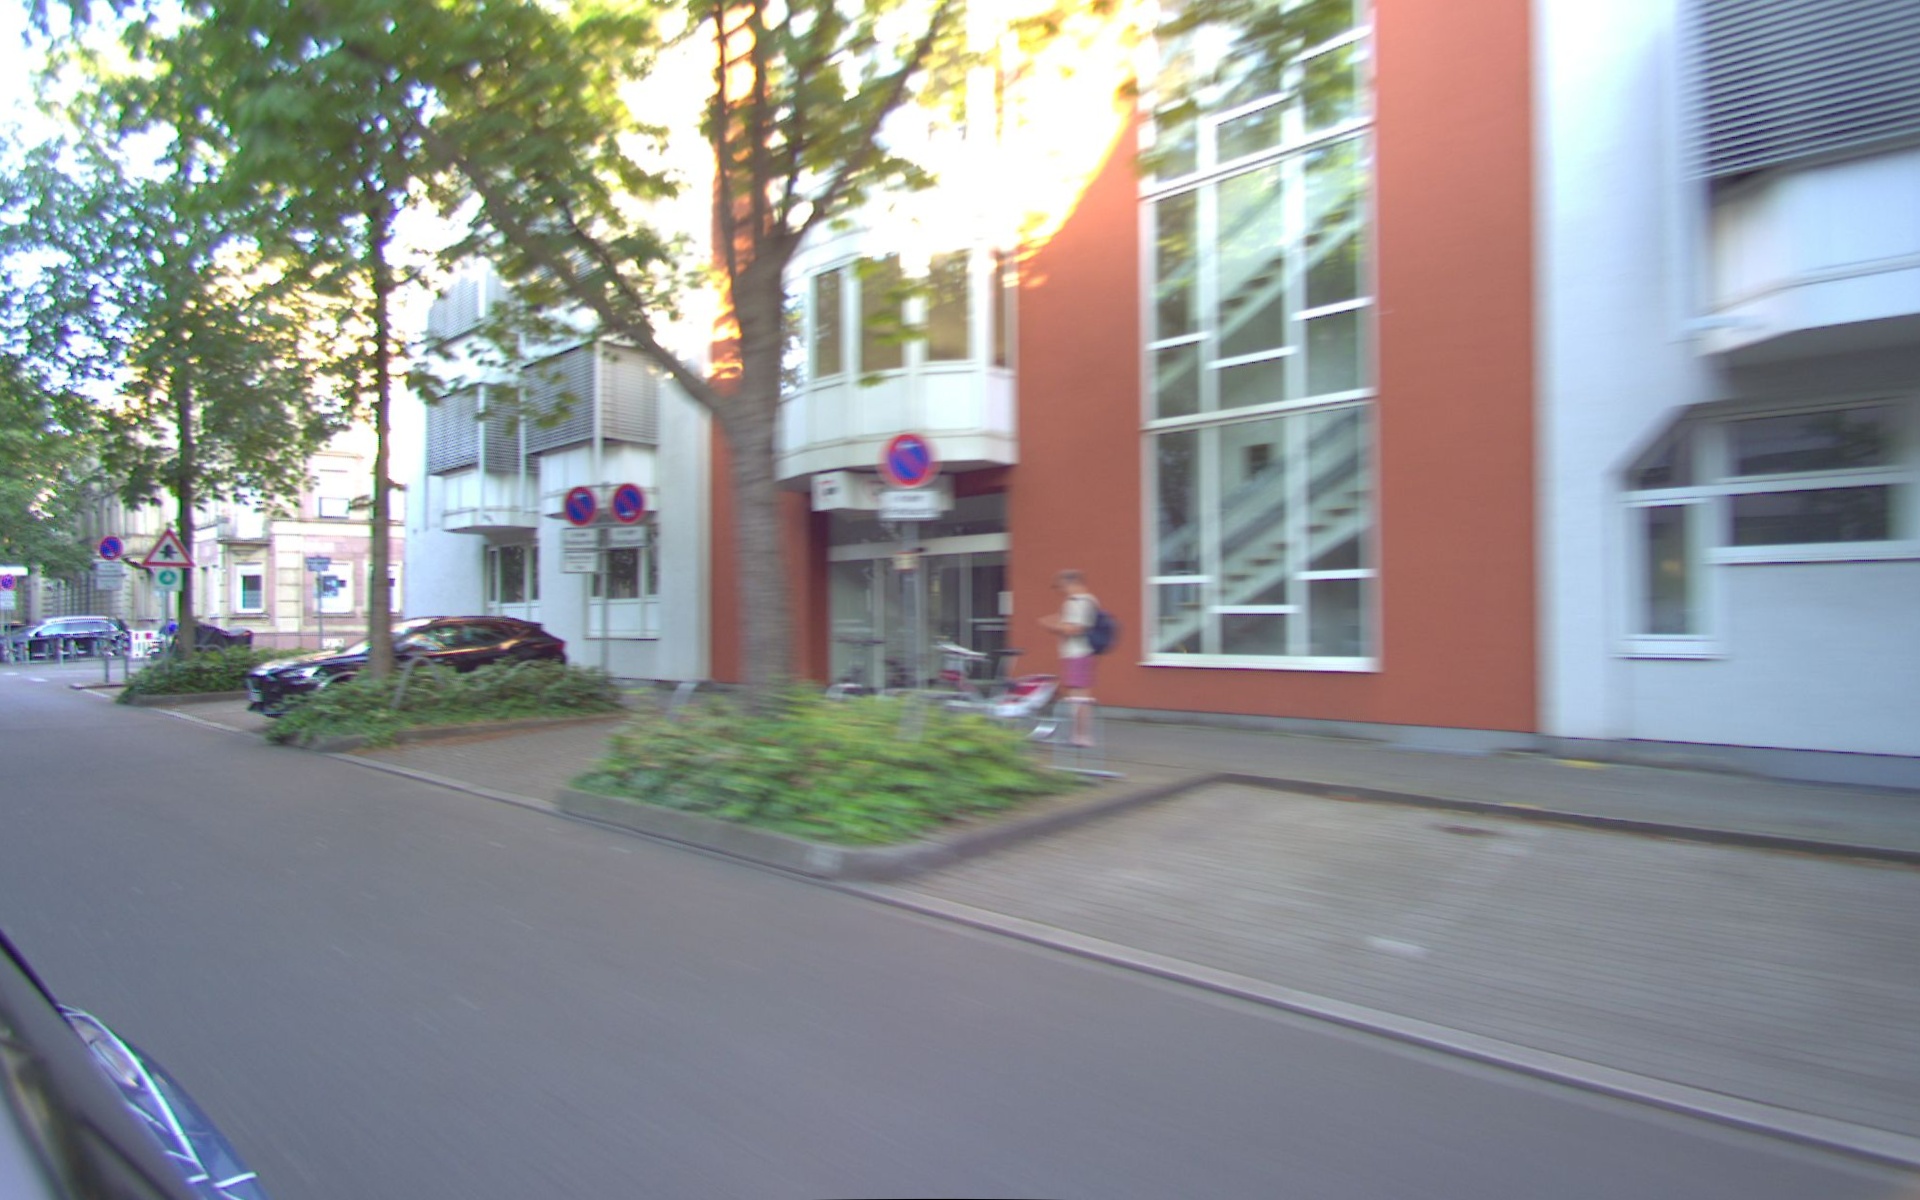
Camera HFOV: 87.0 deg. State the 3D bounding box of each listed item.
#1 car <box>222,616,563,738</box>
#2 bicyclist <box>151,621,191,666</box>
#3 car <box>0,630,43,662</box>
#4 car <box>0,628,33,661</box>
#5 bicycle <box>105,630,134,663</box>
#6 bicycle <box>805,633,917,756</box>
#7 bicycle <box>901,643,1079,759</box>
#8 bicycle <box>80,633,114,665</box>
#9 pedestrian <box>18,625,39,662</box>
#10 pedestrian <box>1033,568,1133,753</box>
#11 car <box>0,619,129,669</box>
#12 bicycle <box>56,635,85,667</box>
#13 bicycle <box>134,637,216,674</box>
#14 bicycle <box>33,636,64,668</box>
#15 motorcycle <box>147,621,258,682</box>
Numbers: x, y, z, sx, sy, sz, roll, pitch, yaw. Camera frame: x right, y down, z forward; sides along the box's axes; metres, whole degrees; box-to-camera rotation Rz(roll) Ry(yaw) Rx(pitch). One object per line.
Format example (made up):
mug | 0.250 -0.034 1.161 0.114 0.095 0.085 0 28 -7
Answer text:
car | -8.432 1.042 15.312 1.928 1.497 4.085 -2 -1 40
bicyclist | -25.096 1.374 32.200 0.763 1.374 0.676 -2 0 -14
car | -47.814 2.291 49.728 1.907 1.544 3.902 -2 -1 43
car | -52.682 2.461 54.293 1.906 1.684 4.158 -3 -1 41
bicycle | -31.357 1.728 37.766 1.861 1.116 0.512 0 3 41
bicycle | -0.994 0.935 10.592 0.496 1.116 1.790 -1 -1 17
bicycle | 0.323 0.996 10.348 1.769 1.037 0.502 -1 -1 -27
bicycle | -31.722 1.779 37.199 1.861 1.070 0.661 0 3 41
pedestrian | -45.460 2.126 49.386 0.725 1.752 0.672 -1 -1 -43
pedestrian | 1.230 0.585 10.197 0.693 1.770 0.742 0 -1 -25
car | -34.679 1.667 38.562 1.872 1.663 4.379 -3 -1 42
bicycle | -32.220 1.841 36.656 1.861 1.026 0.517 0 3 41
bicycle | -24.979 1.763 32.222 1.945 1.038 0.676 -2 0 -11
bicycle | -32.592 1.847 36.174 1.860 1.067 0.517 0 2 39
motorcycle | -19.729 1.306 26.415 0.853 1.493 2.199 -3 -2 22
